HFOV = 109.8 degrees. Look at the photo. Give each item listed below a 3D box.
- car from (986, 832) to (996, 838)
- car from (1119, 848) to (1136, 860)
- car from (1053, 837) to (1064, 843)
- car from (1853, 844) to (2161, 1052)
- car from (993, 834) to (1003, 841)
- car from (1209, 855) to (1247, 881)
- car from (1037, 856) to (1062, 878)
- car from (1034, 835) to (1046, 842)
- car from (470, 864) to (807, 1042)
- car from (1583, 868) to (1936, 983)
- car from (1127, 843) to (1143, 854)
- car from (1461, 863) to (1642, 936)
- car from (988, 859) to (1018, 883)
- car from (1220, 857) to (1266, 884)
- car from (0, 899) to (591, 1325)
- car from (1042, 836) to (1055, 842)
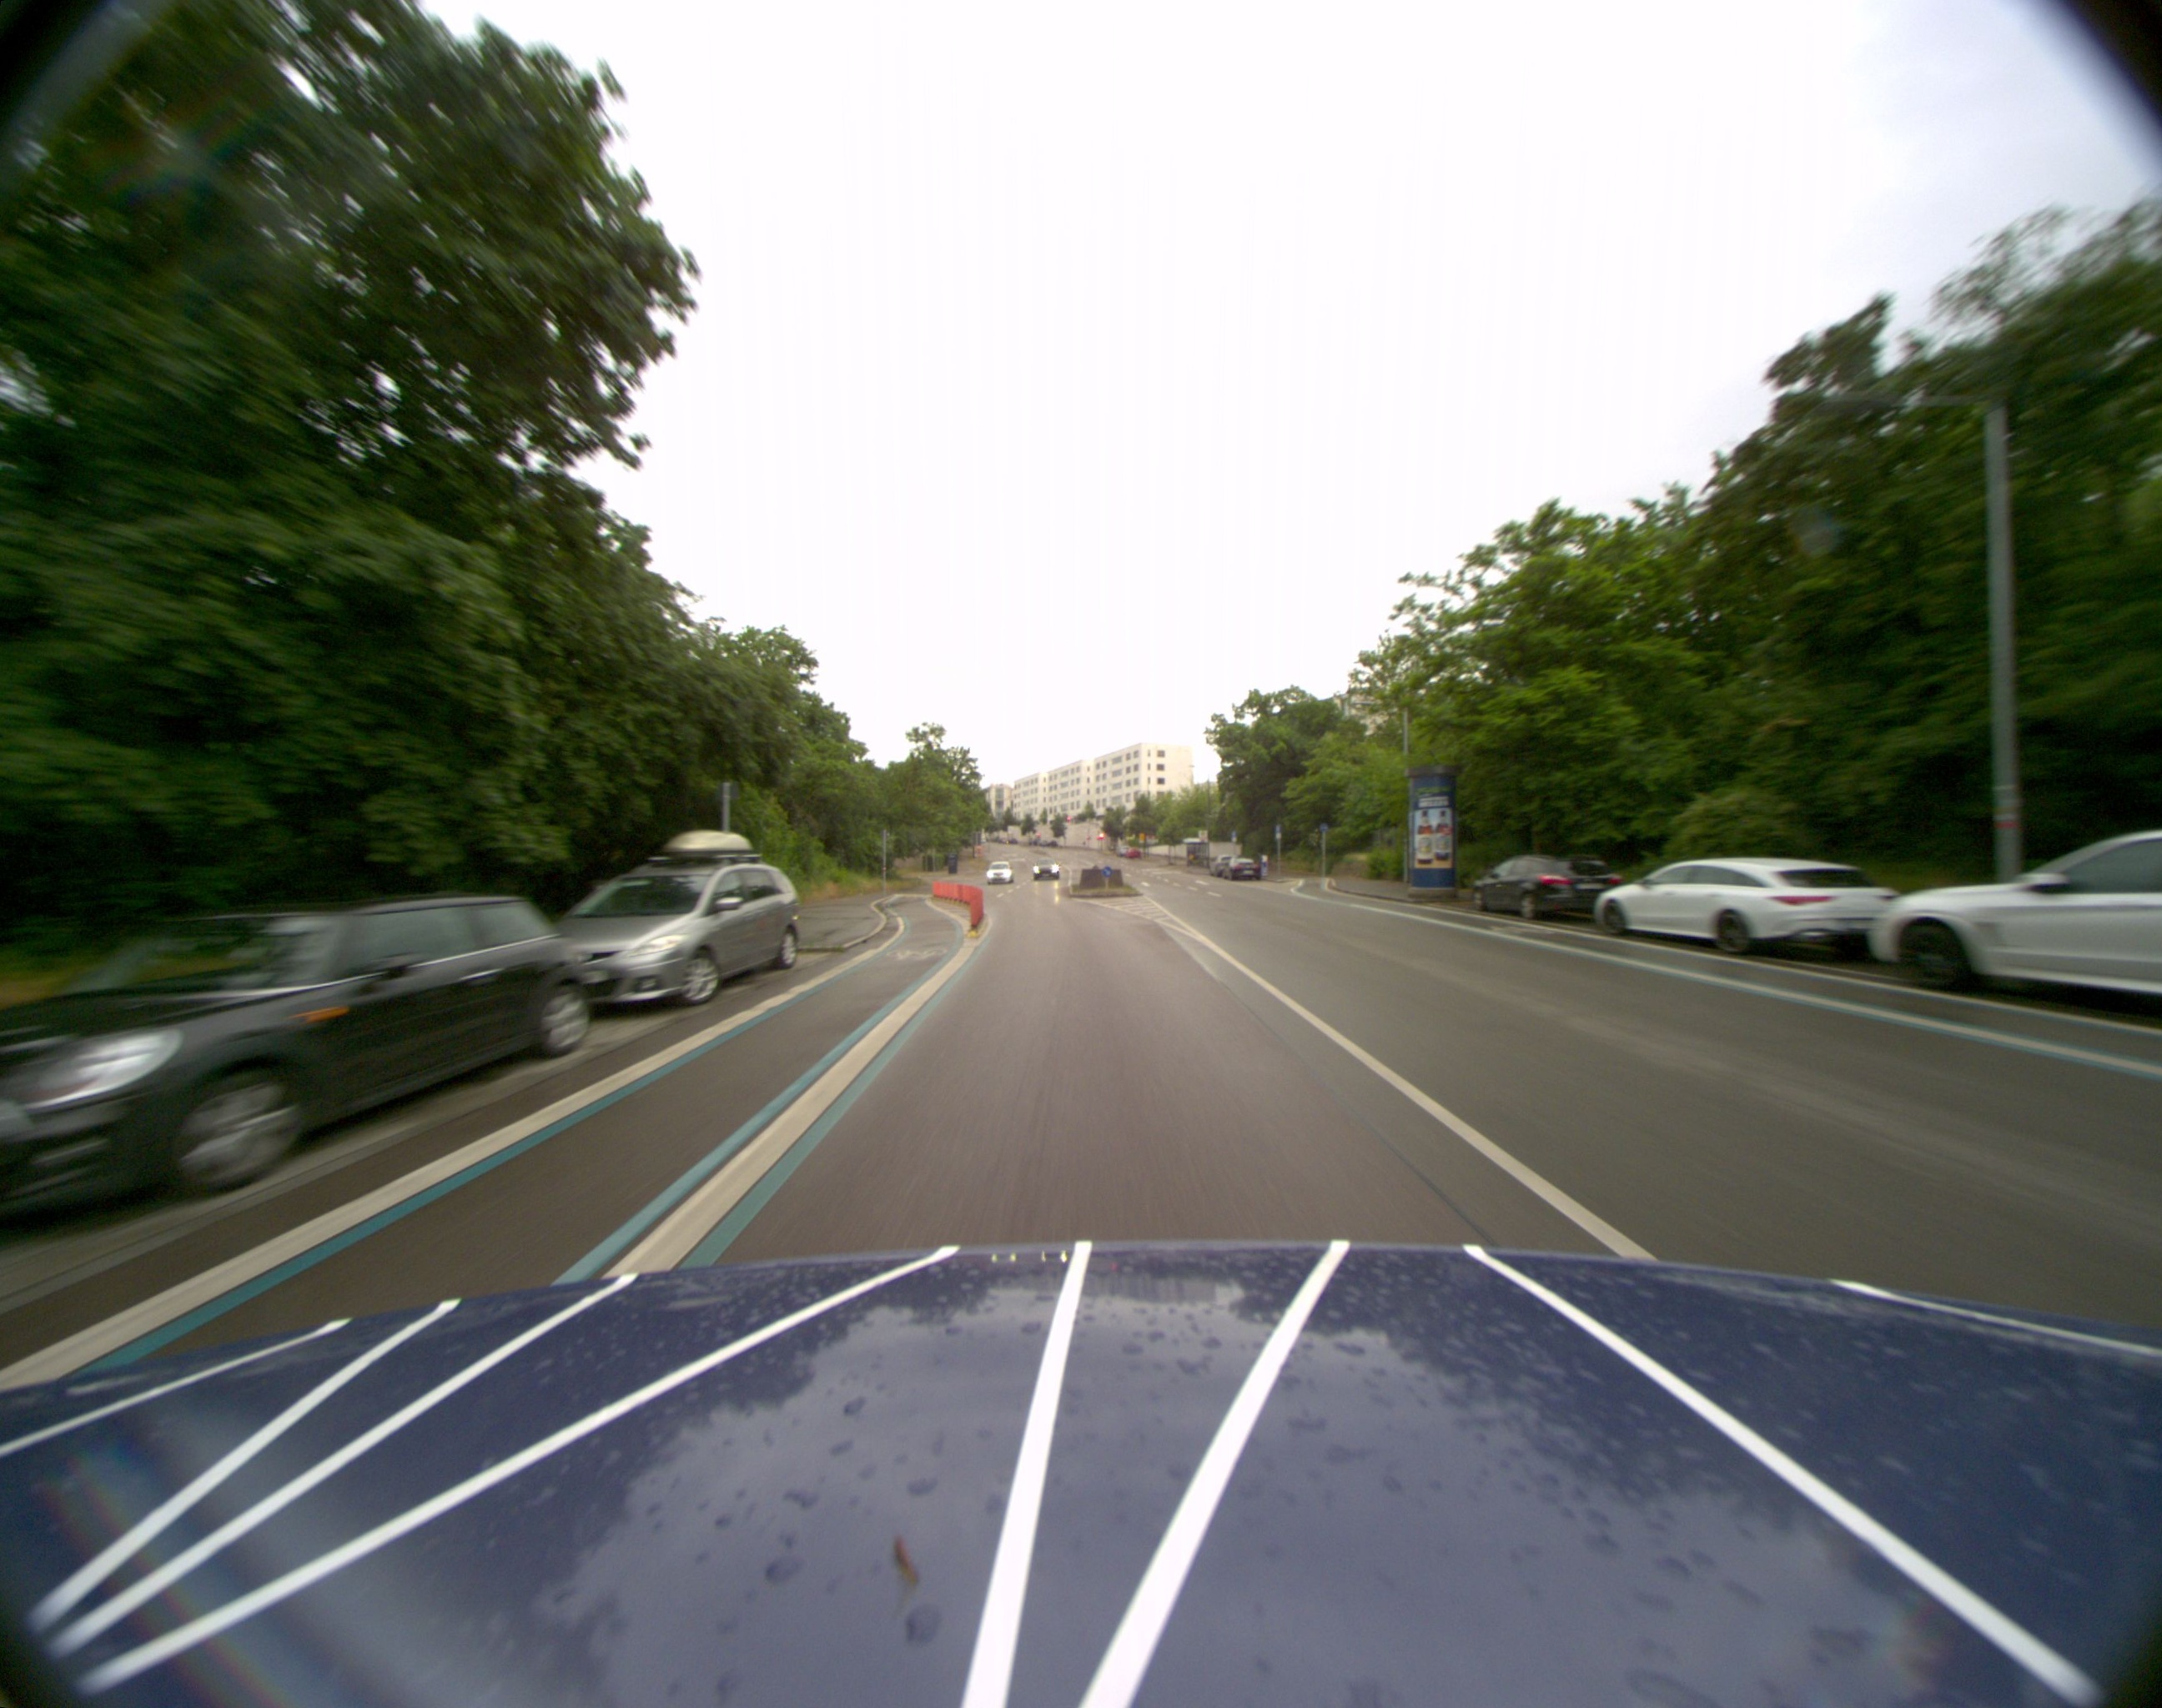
[{"bbox_3d":[-27.941,-5.869,235.876,1.927,2.002,4.378,-1,1,-20],"label":"car"},{"bbox_3d":[6.972,-0.018,114.914,1.769,1.644,4.879,-2,2,-6],"label":"car"},{"bbox_3d":[-5.276,-3.349,179.789,1.683,1.451,2.689,0,2,-24],"label":"car"},{"bbox_3d":[10.183,0.791,6.613,1.998,1.755,4.960,-1,0,2],"label":"car"},{"bbox_3d":[-24.291,-4.954,222.452,1.927,2.002,4.378,-1,1,-20],"label":"car"},{"bbox_3d":[10.252,0.928,53.317,1.845,1.580,4.928,-2,1,2],"label":"car"},{"bbox_3d":[-2.516,1.011,60.491,1.830,1.584,3.998,-2,1,-4],"label":"car"},{"bbox_3d":[-10.257,-3.918,189.171,1.792,1.623,3.990,0,2,-23],"label":"car"},{"bbox_3d":[-5.132,1.004,9.630,1.827,1.605,4.250,-3,0,-2],"label":"car"},{"bbox_3d":[10.504,0.989,12.386,1.722,1.451,4.709,-1,0,3],"label":"car"},{"bbox_3d":[7.712,-0.801,108.667,1.670,1.578,4.213,0,2,-6],"label":"car"},{"bbox_3d":[10.954,0.978,18.132,1.753,1.436,4.588,-1,0,5],"label":"car"},{"bbox_3d":[-5.664,1.207,55.425,1.927,1.652,3.999,-1,0,-3],"label":"car"},{"bbox_3d":[9.978,0.982,47.104,1.911,1.406,4.782,-2,1,2],"label":"car"},{"bbox_3d":[-5.074,1.134,4.713,1.701,1.404,3.702,-3,0,-2],"label":"car"},{"bbox_3d":[-7.945,-3.679,184.481,1.866,1.470,3.991,-1,2,-24],"label":"car"}]
